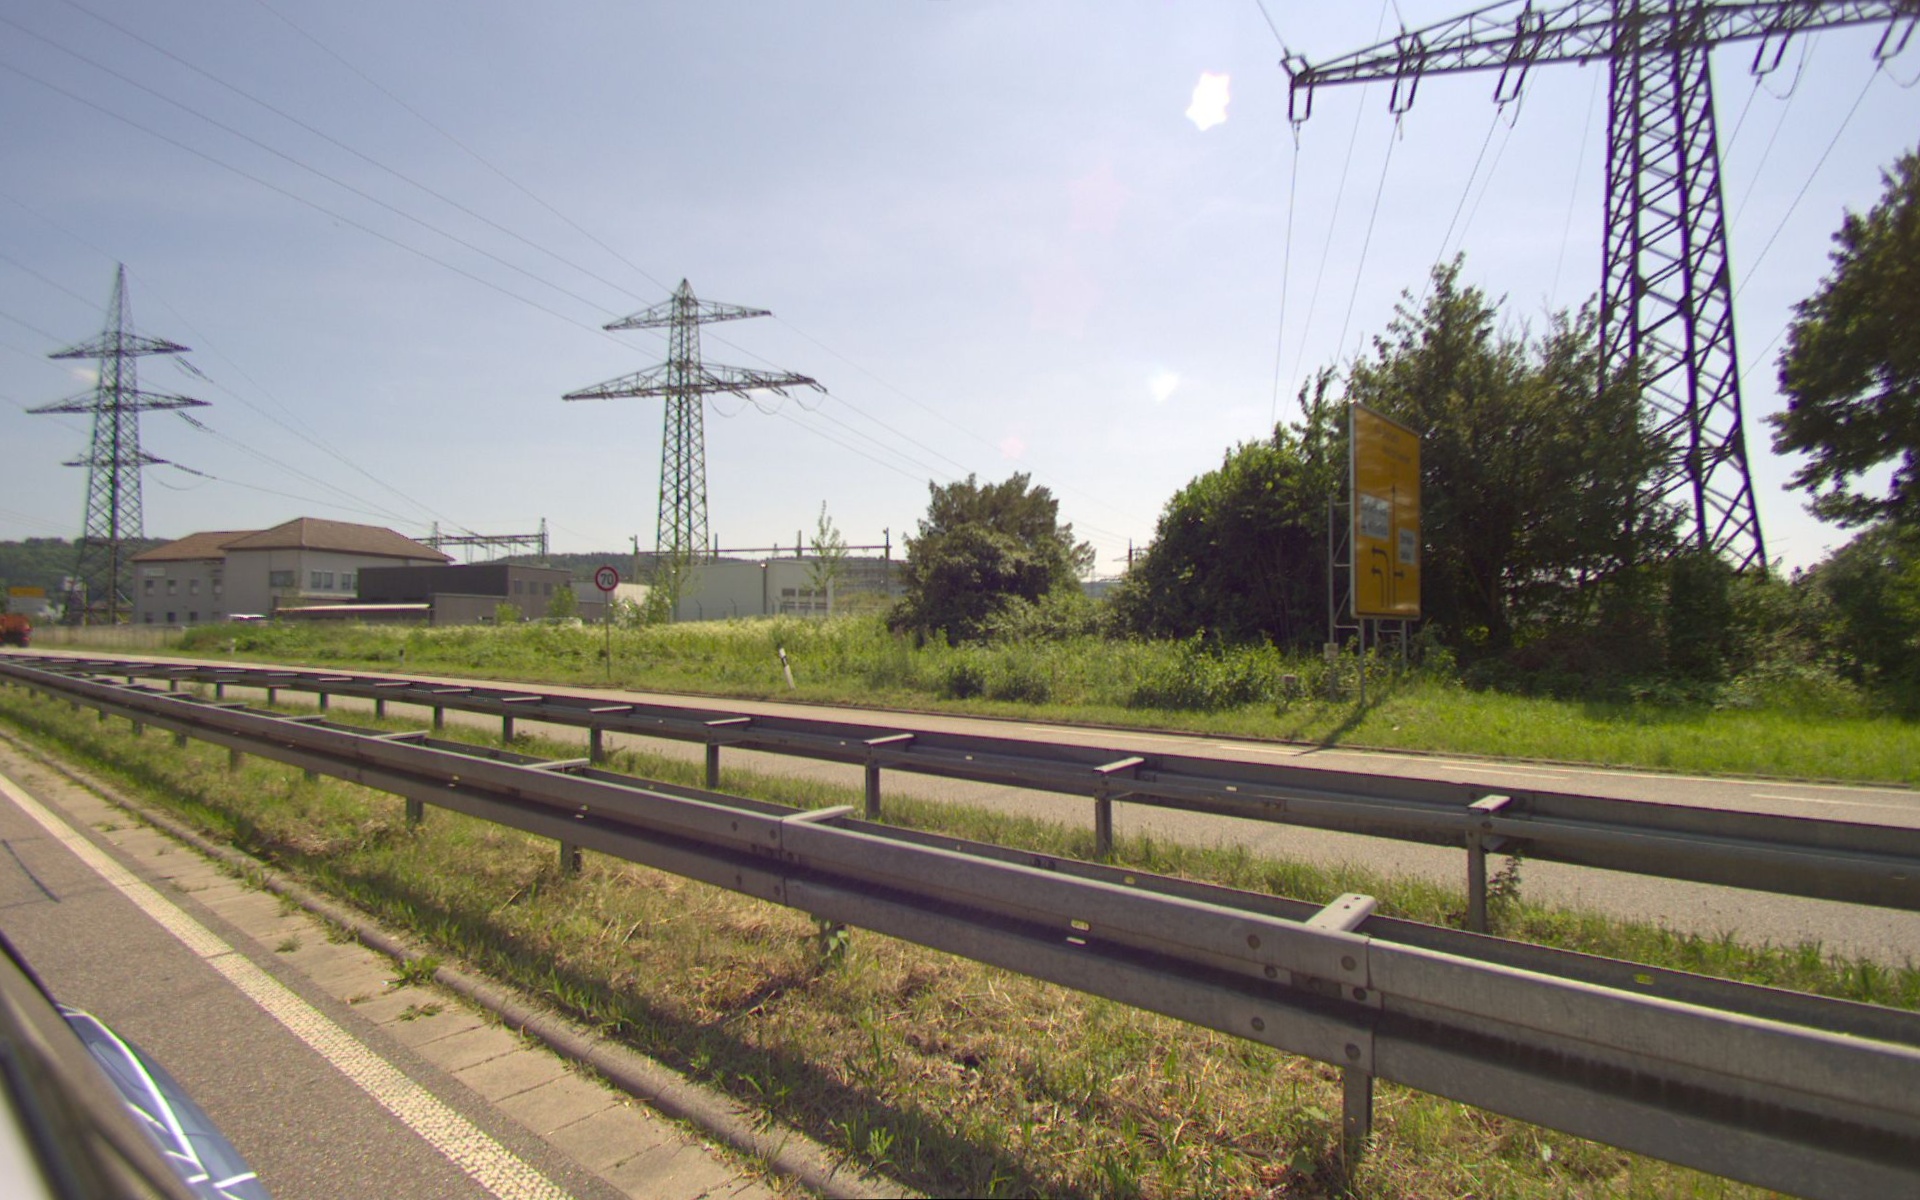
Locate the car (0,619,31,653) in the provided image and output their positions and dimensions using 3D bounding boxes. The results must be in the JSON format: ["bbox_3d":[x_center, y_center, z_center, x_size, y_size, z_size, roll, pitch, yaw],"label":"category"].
[{"bbox_3d":[-87.759,3.300,93.151,5.634,3.084,2.574,-2,-3,40],"label":"car"}]

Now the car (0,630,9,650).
[{"bbox_3d":[-95.257,3.939,99.426,3.993,1.929,1.975,0,0,37],"label":"car"}]
